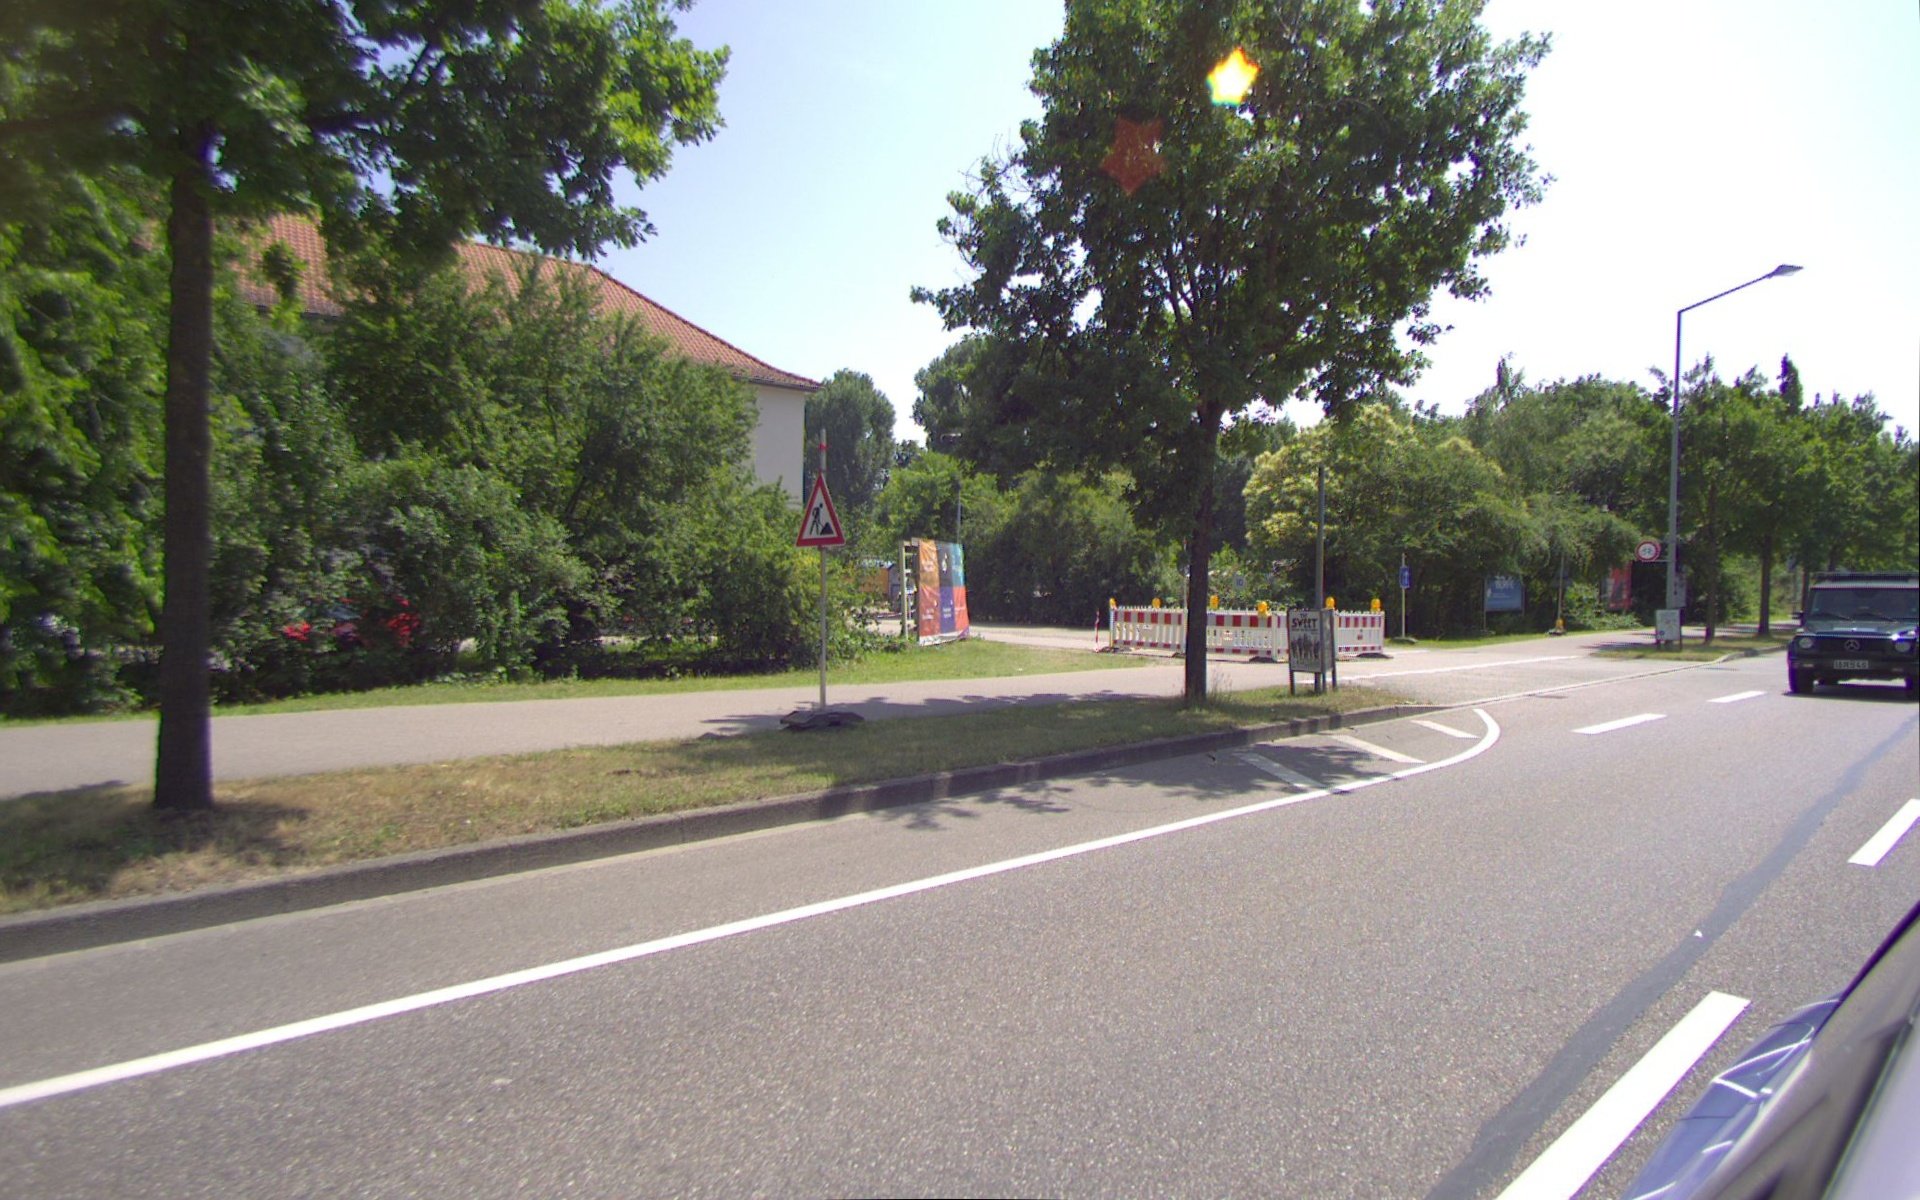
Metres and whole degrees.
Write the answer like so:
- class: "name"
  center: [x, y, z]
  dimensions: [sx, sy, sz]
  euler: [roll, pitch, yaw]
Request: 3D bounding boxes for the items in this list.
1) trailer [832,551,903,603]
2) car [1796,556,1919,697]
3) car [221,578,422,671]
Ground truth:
- class: "trailer"
  center: [-6.283, -1.552, 68.774]
  dimensions: [3.926, 3.372, 2.718]
  euler: [0, 1, -38]
- class: "car"
  center: [16.064, 0.380, 17.576]
  dimensions: [4.481, 2.180, 1.839]
  euler: [0, 1, -43]
- class: "car"
  center: [-12.775, 0.416, 20.573]
  dimensions: [1.842, 1.682, 4.005]
  euler: [1, 1, -6]
